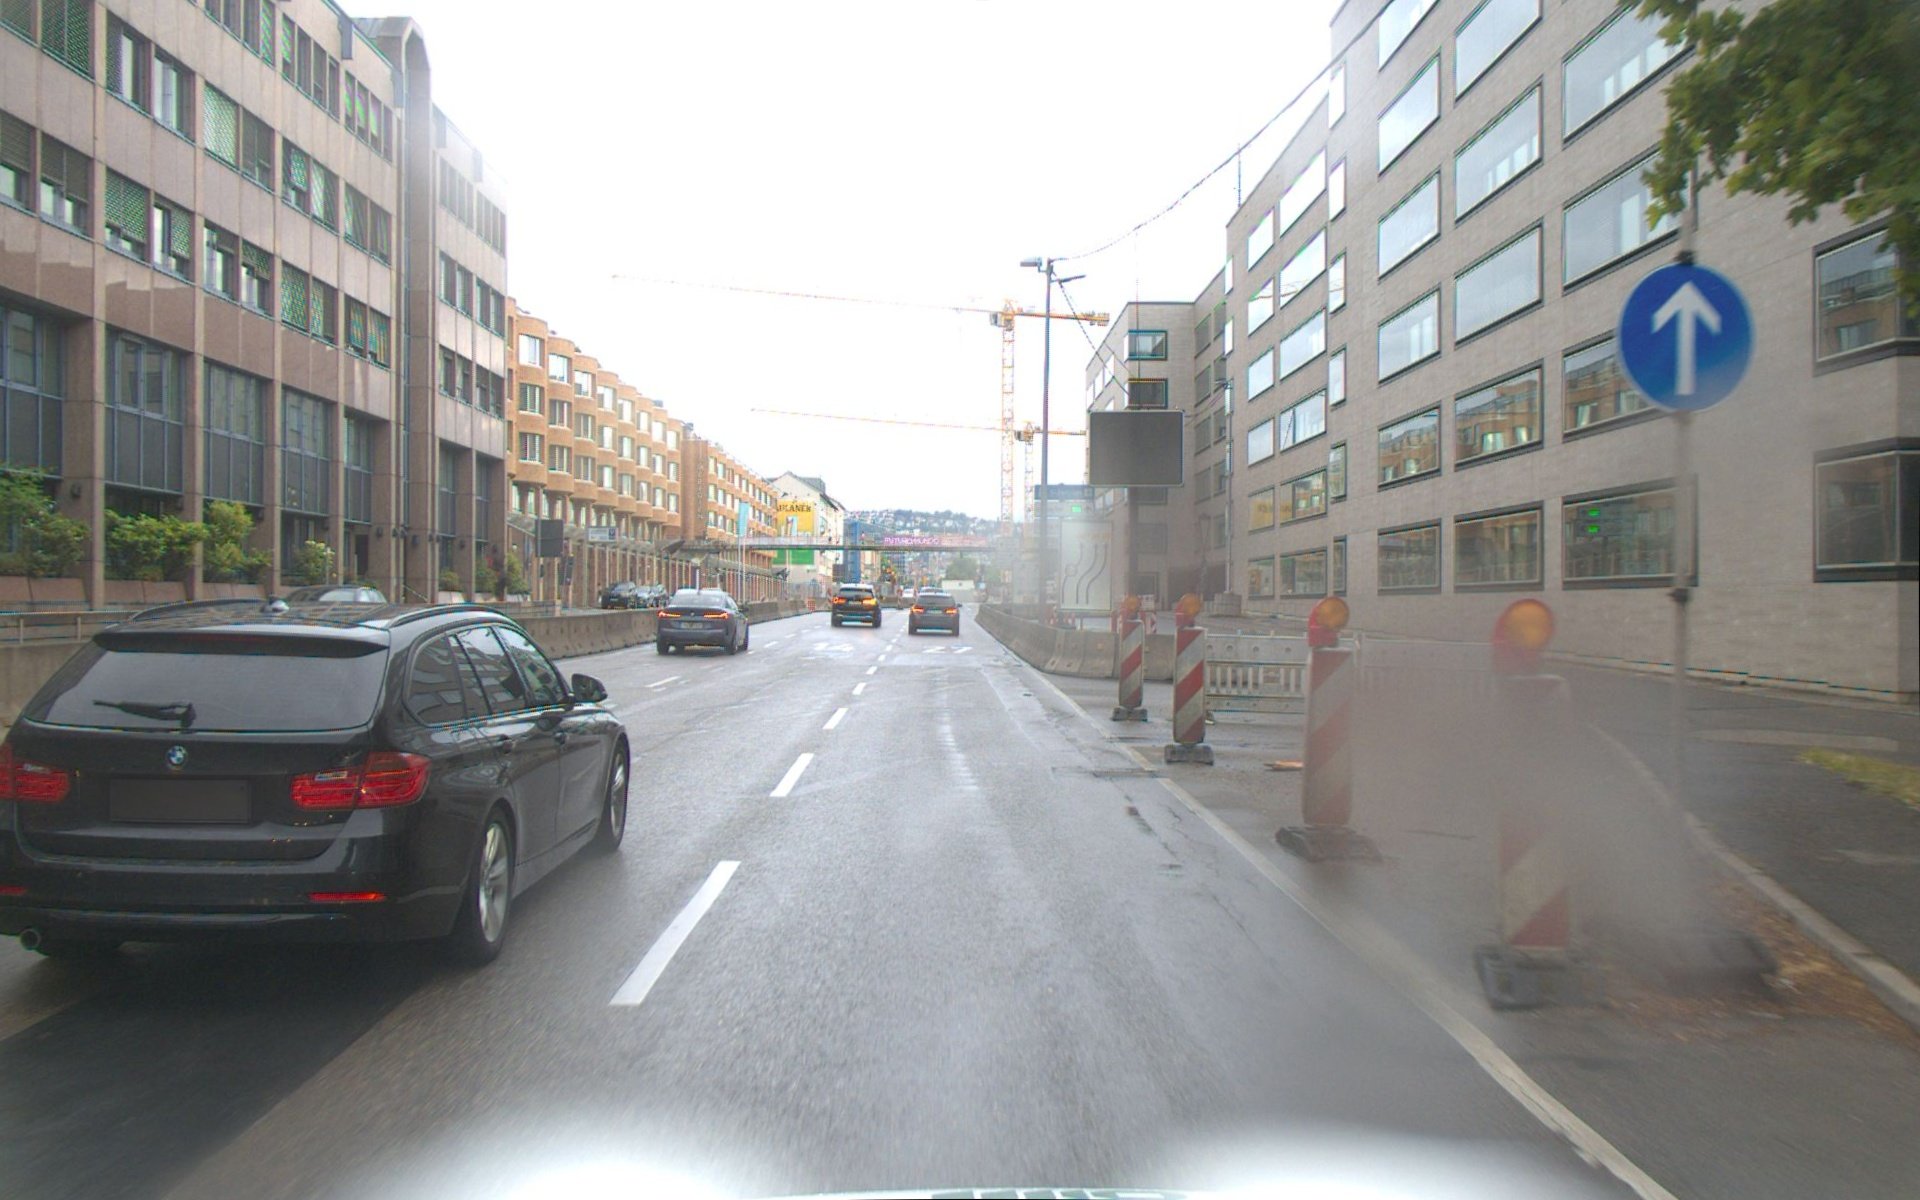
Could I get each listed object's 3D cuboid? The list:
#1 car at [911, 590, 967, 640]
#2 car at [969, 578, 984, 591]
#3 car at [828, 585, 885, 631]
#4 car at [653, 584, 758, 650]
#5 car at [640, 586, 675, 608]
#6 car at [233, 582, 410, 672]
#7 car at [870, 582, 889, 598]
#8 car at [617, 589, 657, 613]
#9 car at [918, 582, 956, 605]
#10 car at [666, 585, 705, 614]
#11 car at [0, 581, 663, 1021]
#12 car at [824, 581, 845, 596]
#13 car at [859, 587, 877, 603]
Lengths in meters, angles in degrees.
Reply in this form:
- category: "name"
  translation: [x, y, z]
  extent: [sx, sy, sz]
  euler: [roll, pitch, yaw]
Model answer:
- category: "car"
  translation: [-0.704, 0.507, 58.415]
  extent: [1.861, 1.723, 4.000]
  euler: [0, 0, 1]
- category: "car"
  translation: [2.151, -2.094, 219.901]
  extent: [1.860, 1.723, 4.001]
  euler: [0, 0, 2]
- category: "car"
  translation: [-4.047, 0.306, 65.373]
  extent: [1.860, 1.723, 4.001]
  euler: [0, 0, 2]
- category: "car"
  translation: [-5.899, 0.364, 38.812]
  extent: [1.754, 1.451, 4.385]
  euler: [0, 0, 0]
- category: "car"
  translation: [-23.520, -0.255, 128.584]
  extent: [1.953, 1.648, 4.317]
  euler: [0, 0, 0]
- category: "car"
  translation: [-11.924, 0.472, 31.190]
  extent: [1.823, 1.560, 4.229]
  euler: [0, 0, -2]
- category: "car"
  translation: [-8.516, -1.026, 175.347]
  extent: [1.953, 1.648, 4.761]
  euler: [0, 0, -2]
- category: "car"
  translation: [-22.670, 0.049, 116.224]
  extent: [1.953, 1.648, 4.762]
  euler: [0, 0, 0]
- category: "car"
  translation: [-1.680, -0.484, 123.159]
  extent: [1.859, 1.723, 4.003]
  euler: [0, 0, 14]
- category: "car"
  translation: [-15.029, -0.043, 90.774]
  extent: [1.570, 1.467, 3.657]
  euler: [0, 2, -1]
- category: "car"
  translation: [-2.664, 0.655, 7.838]
  extent: [1.755, 1.451, 4.612]
  euler: [1, 1, -1]
- category: "car"
  translation: [-14.273, -1.314, 188.649]
  extent: [1.952, 1.648, 4.763]
  euler: [0, 0, 0]
- category: "car"
  translation: [-11.370, -0.606, 205.346]
  extent: [1.952, 2.049, 4.000]
  euler: [0, 0, 0]
